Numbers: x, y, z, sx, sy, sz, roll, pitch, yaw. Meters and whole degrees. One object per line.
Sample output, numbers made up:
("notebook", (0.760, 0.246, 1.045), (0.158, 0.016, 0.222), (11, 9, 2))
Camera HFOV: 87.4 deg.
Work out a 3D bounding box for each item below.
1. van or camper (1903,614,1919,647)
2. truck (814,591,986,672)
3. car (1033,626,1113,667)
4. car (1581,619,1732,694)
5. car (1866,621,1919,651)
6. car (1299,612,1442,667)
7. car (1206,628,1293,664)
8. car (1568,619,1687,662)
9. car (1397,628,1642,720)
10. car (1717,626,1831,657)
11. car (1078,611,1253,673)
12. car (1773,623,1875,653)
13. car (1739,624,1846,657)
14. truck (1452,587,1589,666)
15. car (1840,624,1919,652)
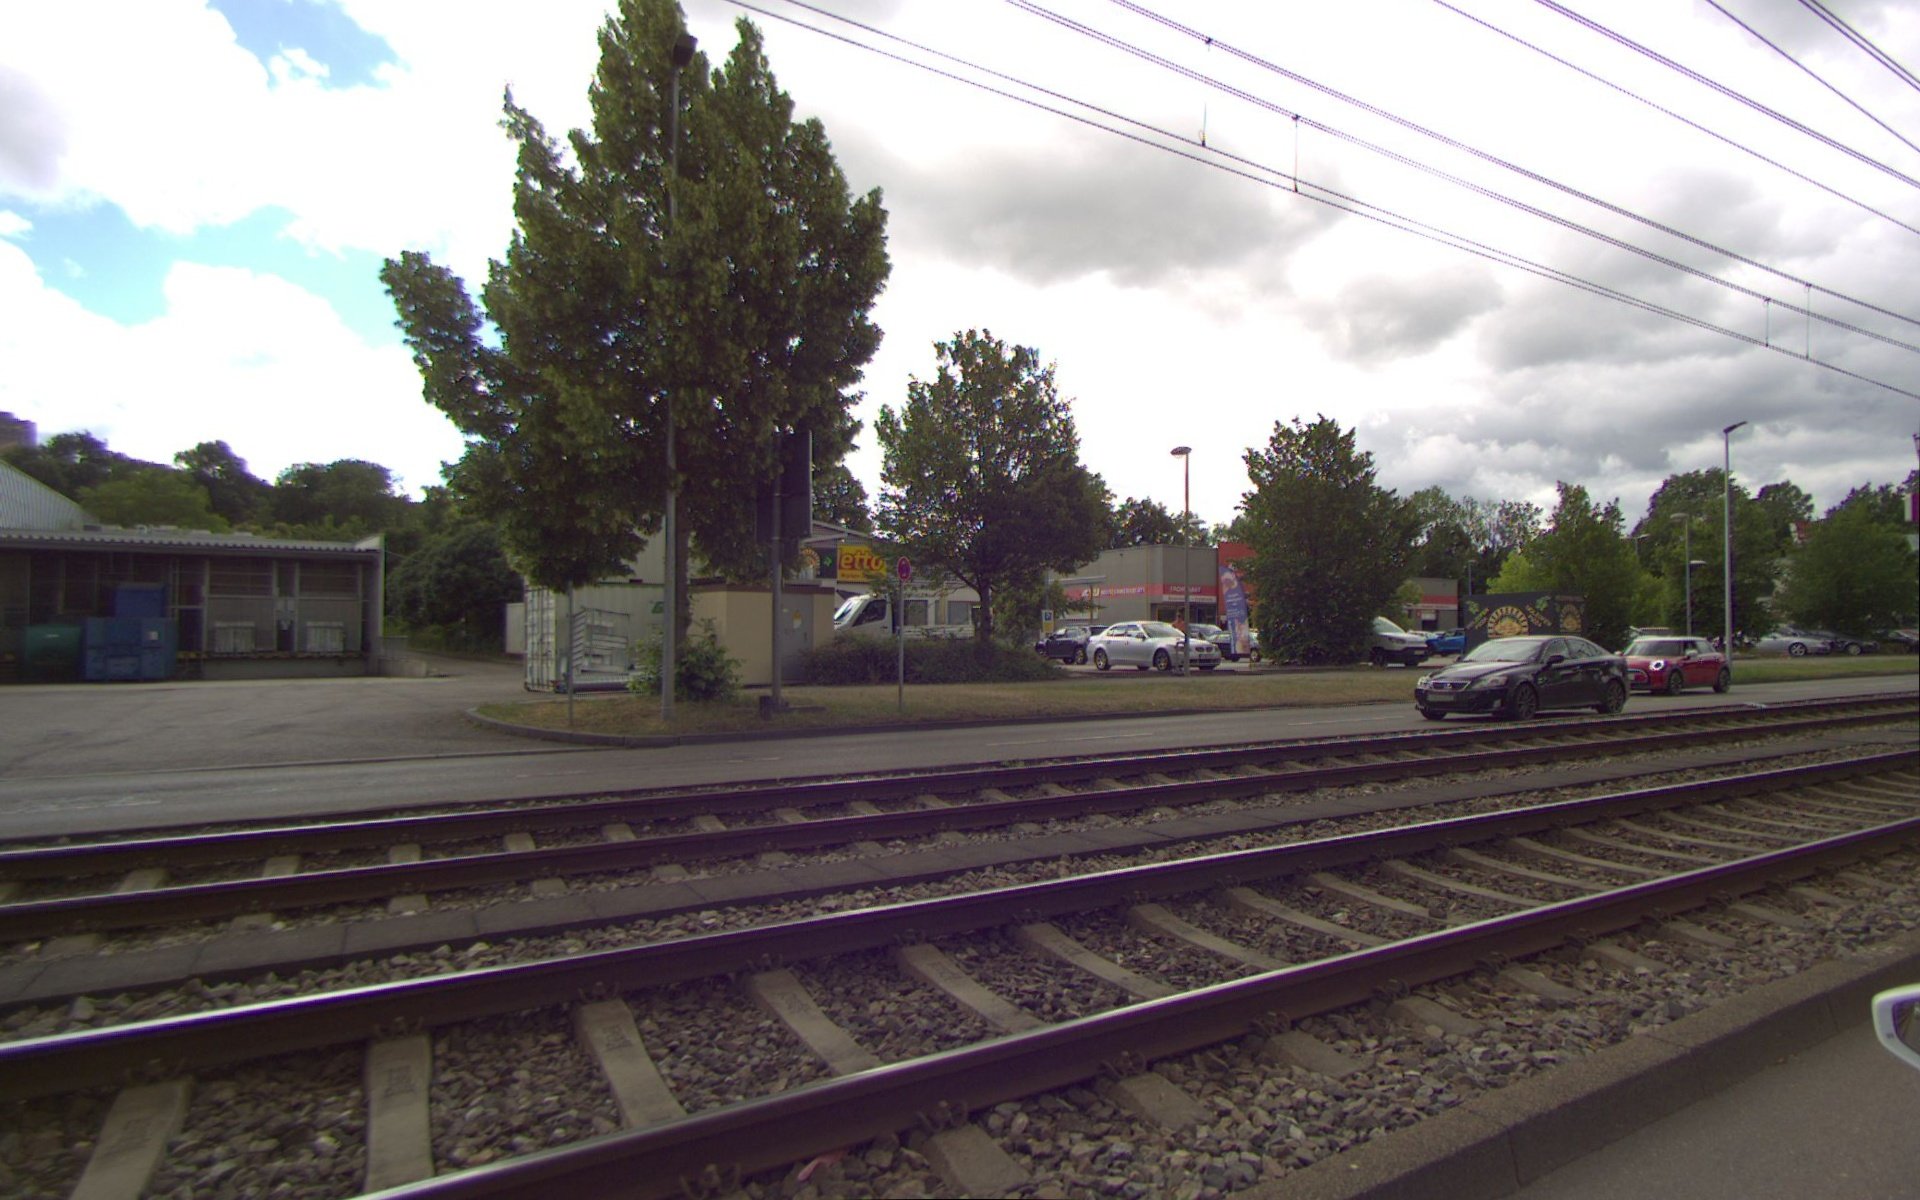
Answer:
("van or camper", (63.308, 1.989, 64.297), (1.859, 2.163, 3.962), (1, -1, -34))
("truck", (-1.896, 1.027, 32.324), (5.202, 2.414, 1.984), (1, -2, -30))
("car", (4.718, 1.946, 42.462), (1.669, 1.617, 3.979), (1, -2, -23))
("car", (17.872, 1.412, 25.754), (3.956, 1.795, 1.782), (1, -2, -32))
("car", (58.875, 2.224, 62.090), (1.859, 1.821, 3.962), (1, -1, -34))
("car", (13.930, 1.358, 34.326), (1.973, 1.750, 4.199), (1, -2, -31))
("car", (13.657, 2.171, 47.606), (1.668, 1.661, 3.903), (1, -3, -30))
("car", (29.317, 1.783, 44.229), (1.859, 1.821, 3.963), (1, -2, -34))
("car", (9.770, 1.248, 17.451), (4.393, 1.419, 1.751), (1, -5, -31))
("car", (41.713, 2.107, 51.578), (1.662, 1.491, 4.284), (1, -2, -32))
("car", (5.952, 1.198, 29.705), (2.619, 1.650, 4.761), (0, -2, -29))
("car", (48.001, 2.122, 55.857), (1.859, 1.620, 3.963), (1, -2, -34))
("car", (43.749, 2.110, 52.843), (1.859, 1.656, 3.963), (1, -2, -34))
("truck", (21.644, 1.042, 38.912), (2.350, 2.859, 3.966), (1, -2, -32))
("car", (54.525, 2.225, 58.940), (1.859, 1.620, 3.963), (1, -2, -34))
